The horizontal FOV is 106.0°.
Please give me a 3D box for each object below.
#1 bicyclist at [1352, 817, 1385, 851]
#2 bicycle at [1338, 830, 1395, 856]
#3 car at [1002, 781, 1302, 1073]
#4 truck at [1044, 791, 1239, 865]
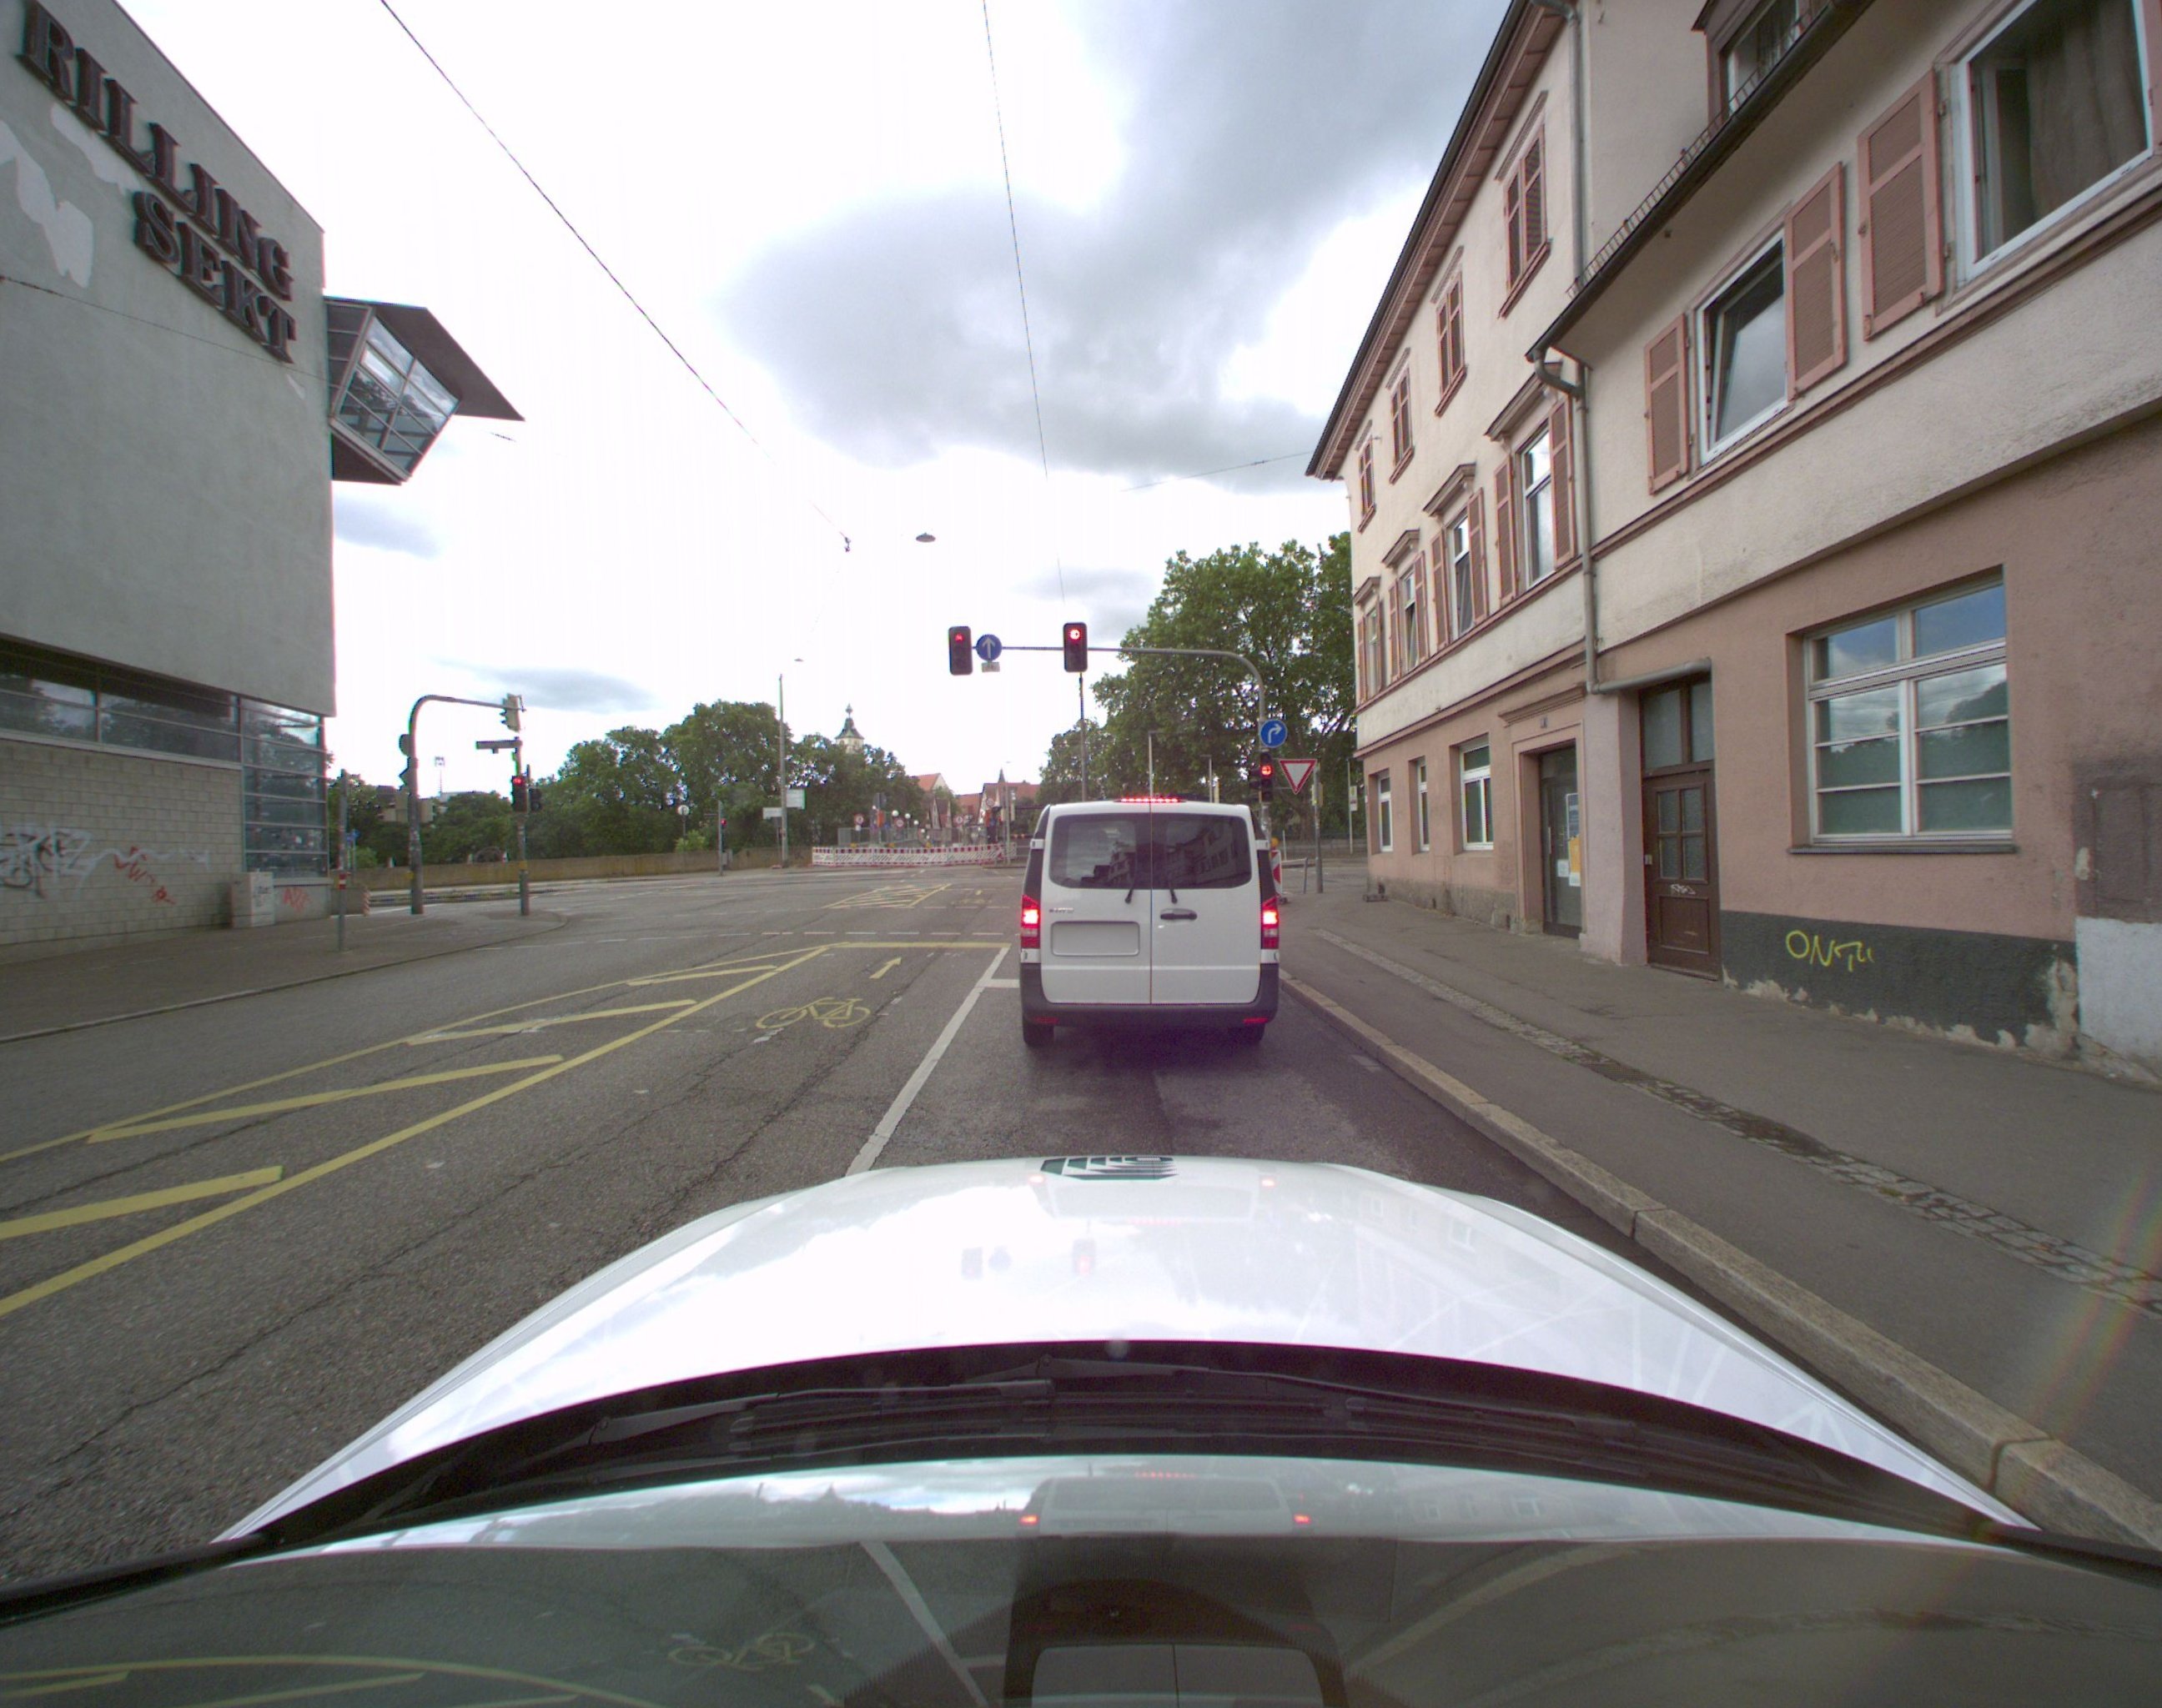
[{"bbox_3d":[18.655,-1.267,52.791,1.565,2.156,1.242,-2,0,-12],"label":"bicyclist"},{"bbox_3d":[18.456,-0.709,52.735,3.147,1.569,1.464,-2,0,-12],"label":"bicycle"},{"bbox_3d":[0.474,0.420,7.542,1.987,1.922,4.248,-1,2,0],"label":"car"},{"bbox_3d":[3.231,-1.384,43.936,10.178,3.696,2.265,-1,0,-8],"label":"truck"}]
